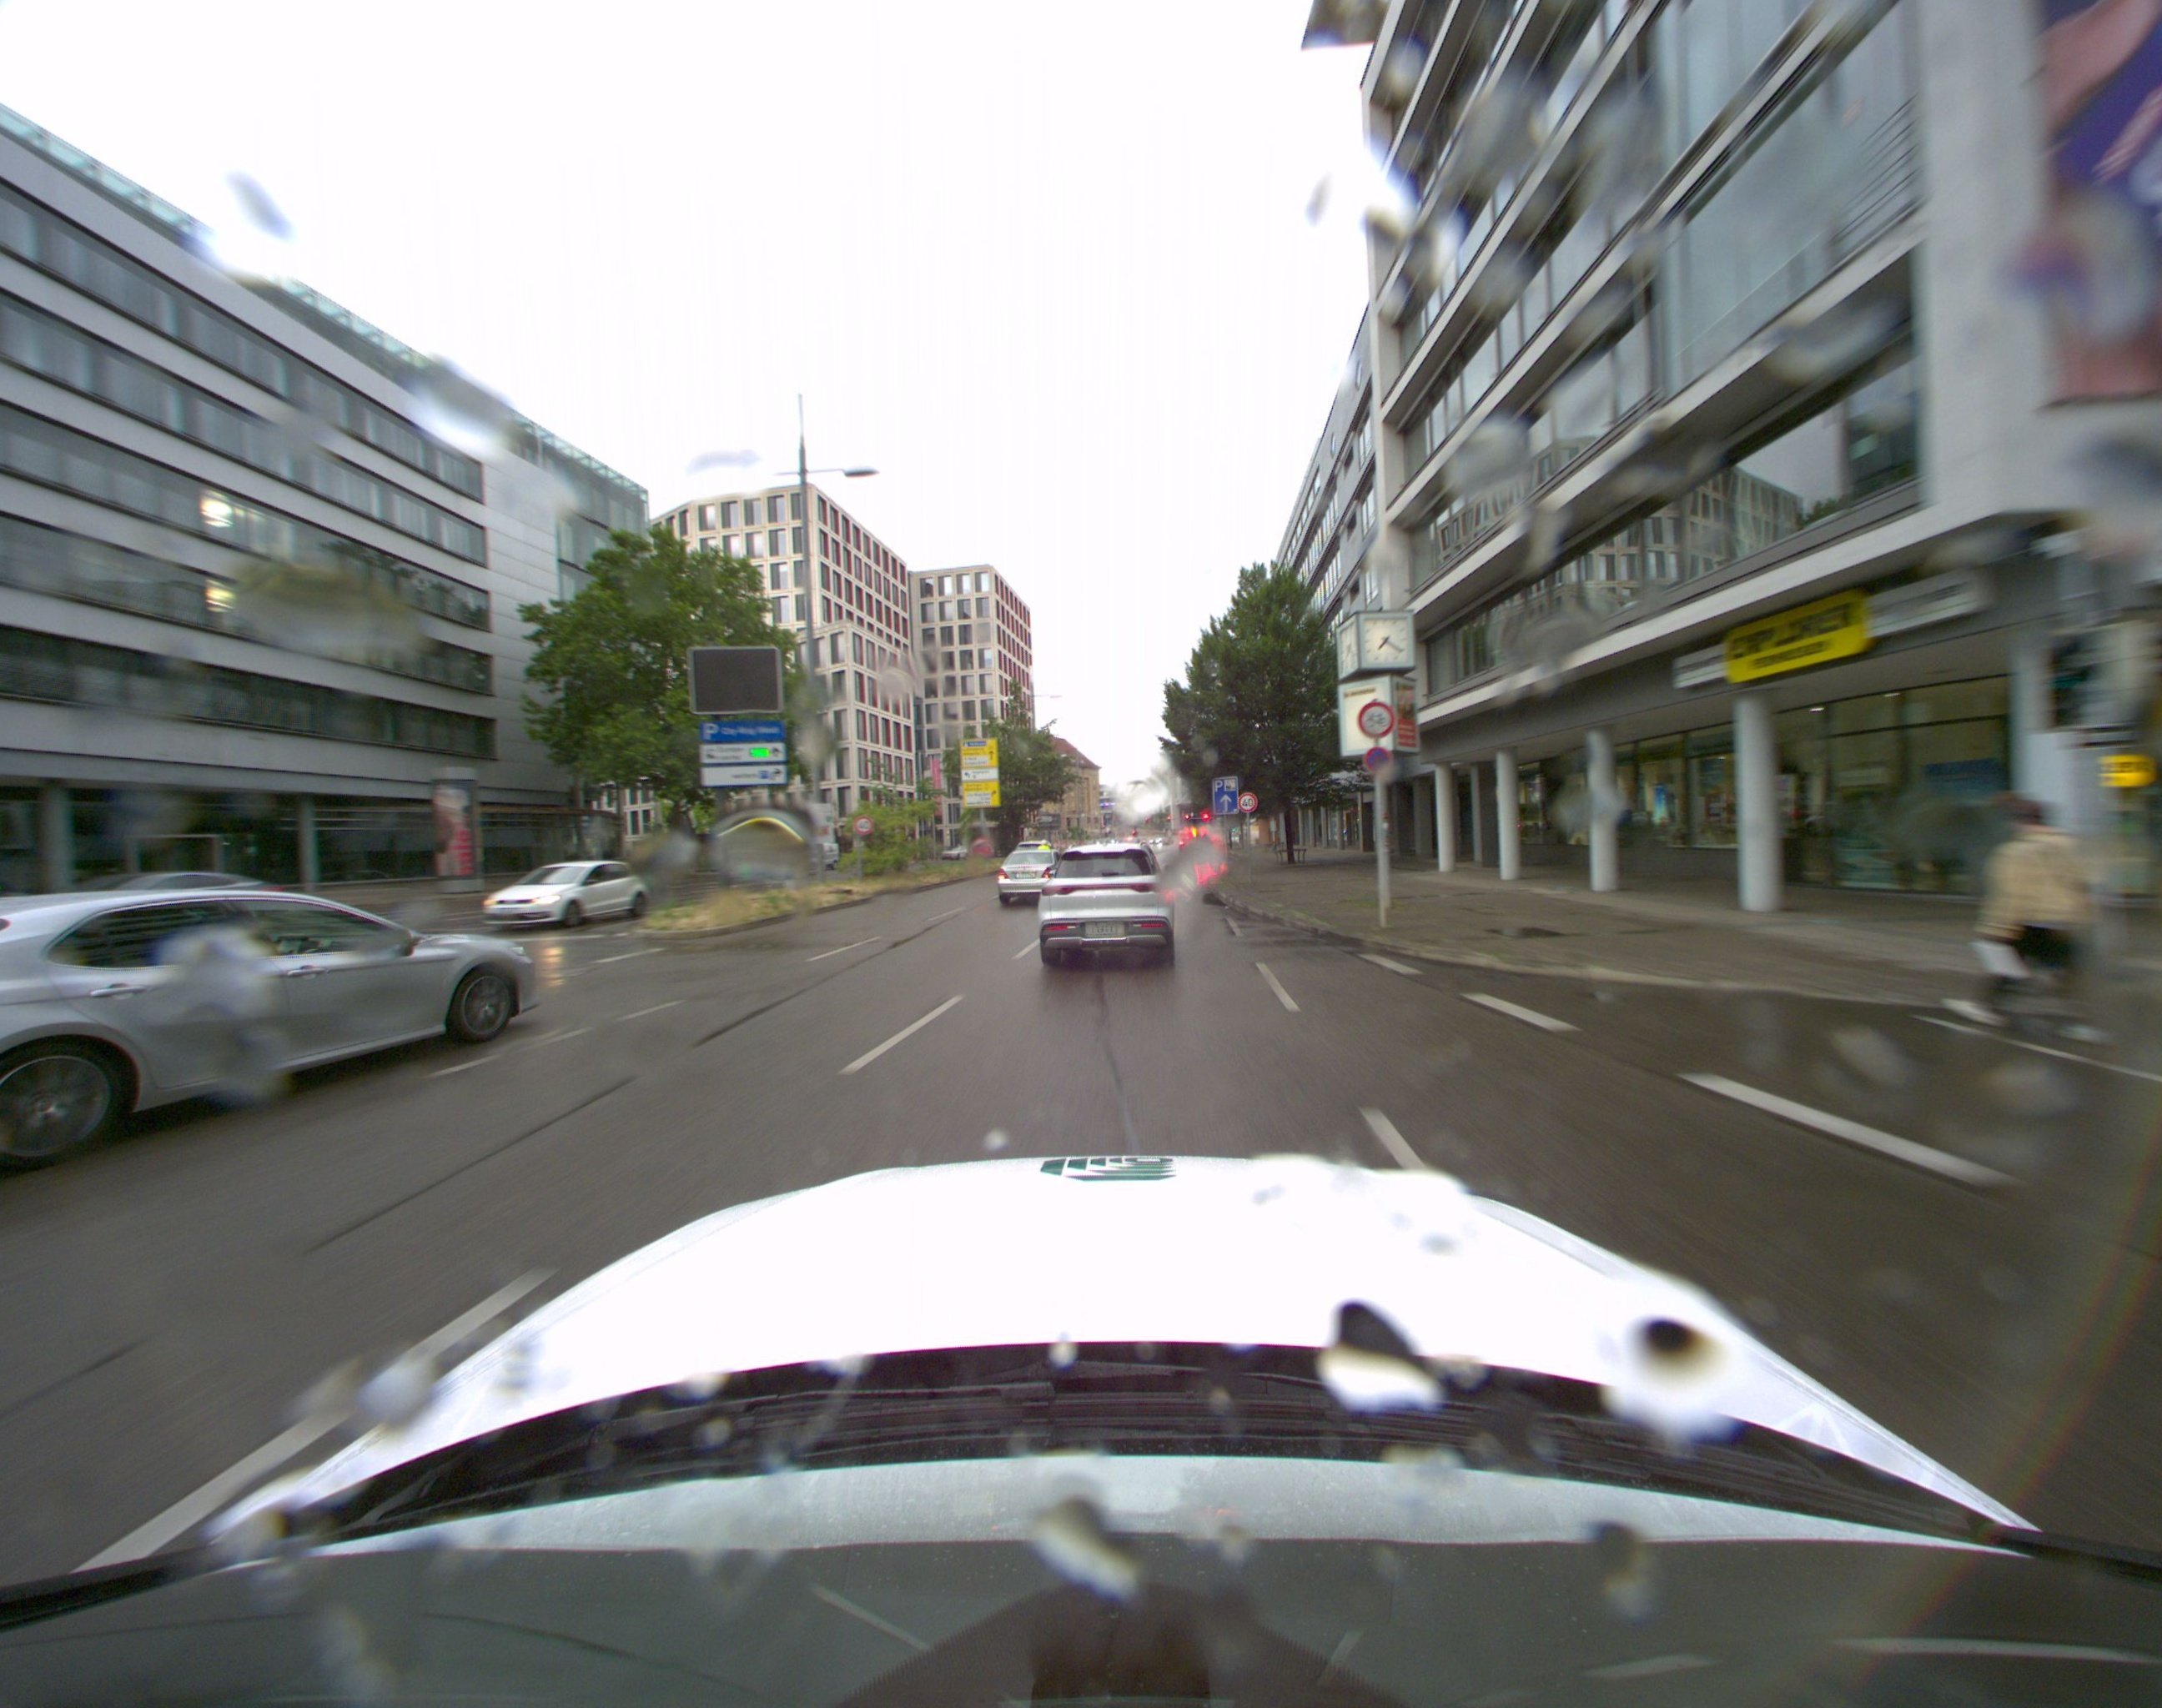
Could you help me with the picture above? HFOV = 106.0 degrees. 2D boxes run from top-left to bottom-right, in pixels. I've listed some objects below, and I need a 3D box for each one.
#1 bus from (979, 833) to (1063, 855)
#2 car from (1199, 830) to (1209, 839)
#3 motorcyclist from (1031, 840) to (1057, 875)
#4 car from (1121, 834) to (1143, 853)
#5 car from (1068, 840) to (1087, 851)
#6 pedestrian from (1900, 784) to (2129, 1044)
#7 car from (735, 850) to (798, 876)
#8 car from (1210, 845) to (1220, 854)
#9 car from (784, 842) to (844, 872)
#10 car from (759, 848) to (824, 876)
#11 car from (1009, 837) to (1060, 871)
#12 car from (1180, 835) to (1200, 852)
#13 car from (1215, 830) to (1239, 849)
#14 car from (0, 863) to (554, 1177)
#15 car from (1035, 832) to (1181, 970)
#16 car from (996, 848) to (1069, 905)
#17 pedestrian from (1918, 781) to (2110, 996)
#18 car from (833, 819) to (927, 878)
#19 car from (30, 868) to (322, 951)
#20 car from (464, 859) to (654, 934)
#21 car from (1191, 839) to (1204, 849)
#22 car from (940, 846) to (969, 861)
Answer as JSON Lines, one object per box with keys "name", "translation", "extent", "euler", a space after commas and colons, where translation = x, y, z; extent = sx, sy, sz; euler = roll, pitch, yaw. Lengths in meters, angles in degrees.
{"name": "bus", "translation": [-12.399, -2.051, 169.217], "extent": [16.868, 4.063, 4.447], "euler": [-2, -1, 8]}
{"name": "car", "translation": [29.316, -4.668, 194.264], "extent": [1.986, 2.014, 4.001], "euler": [-2, -1, 2]}
{"name": "motorcyclist", "translation": [-1.533, 0.153, 33.611], "extent": [0.765, 1.380, 1.122], "euler": [-2, -1, 12]}
{"name": "car", "translation": [4.383, -0.905, 69.527], "extent": [1.562, 1.486, 4.008], "euler": [-2, -1, 7]}
{"name": "car", "translation": [-0.464, -1.197, 118.285], "extent": [1.981, 1.486, 4.011], "euler": [-2, 1, 9]}
{"name": "pedestrian", "translation": [6.982, 0.418, 6.138], "extent": [0.746, 1.798, 0.817], "euler": [-2, 0, 1]}
{"name": "car", "translation": [-20.274, 0.561, 52.716], "extent": [1.982, 1.488, 4.010], "euler": [-2, 1, 9]}
{"name": "car", "translation": [33.487, -1.129, 204.006], "extent": [1.986, 2.013, 4.002], "euler": [-2, 1, 2]}
{"name": "car", "translation": [-19.145, 0.166, 58.598], "extent": [1.982, 2.011, 4.940], "euler": [-2, 1, 9]}
{"name": "car", "translation": [-17.505, 0.447, 49.413], "extent": [1.982, 1.488, 4.010], "euler": [-2, 1, 9]}
{"name": "car", "translation": [-2.155, 0.038, 39.062], "extent": [1.698, 1.486, 4.008], "euler": [-2, -1, 7]}
{"name": "car", "translation": [10.421, -0.947, 77.690], "extent": [1.683, 1.486, 4.011], "euler": [-2, -1, 10]}
{"name": "car", "translation": [15.270, -1.497, 85.412], "extent": [1.844, 1.750, 4.002], "euler": [-2, -1, 2]}
{"name": "car", "translation": [-6.236, 0.874, 5.579], "extent": [1.857, 1.533, 4.782], "euler": [-1, 0, 4]}
{"name": "car", "translation": [0.479, 0.594, 12.142], "extent": [1.768, 1.679, 4.005], "euler": [-2, 0, 4]}
{"name": "car", "translation": [-1.263, 0.600, 22.795], "extent": [1.564, 1.407, 4.112], "euler": [-2, -1, 3]}
{"name": "pedestrian", "translation": [8.335, 0.289, 7.318], "extent": [0.746, 1.798, 0.817], "euler": [-2, 0, 1]}
{"name": "car", "translation": [-7.459, -0.148, 30.759], "extent": [1.984, 2.014, 4.854], "euler": [-2, -1, 4]}
{"name": "car", "translation": [-21.437, 1.226, 19.648], "extent": [1.624, 1.559, 4.600], "euler": [-2, 1, 5]}
{"name": "car", "translation": [-11.970, 0.906, 19.030], "extent": [1.624, 1.437, 3.913], "euler": [-2, 1, 5]}
{"name": "car", "translation": [18.541, -1.527, 129.681], "extent": [1.682, 1.486, 4.012], "euler": [-2, -1, 11]}
{"name": "car", "translation": [-13.835, -0.089, 89.352], "extent": [1.982, 1.488, 4.010], "euler": [-2, 1, 9]}
